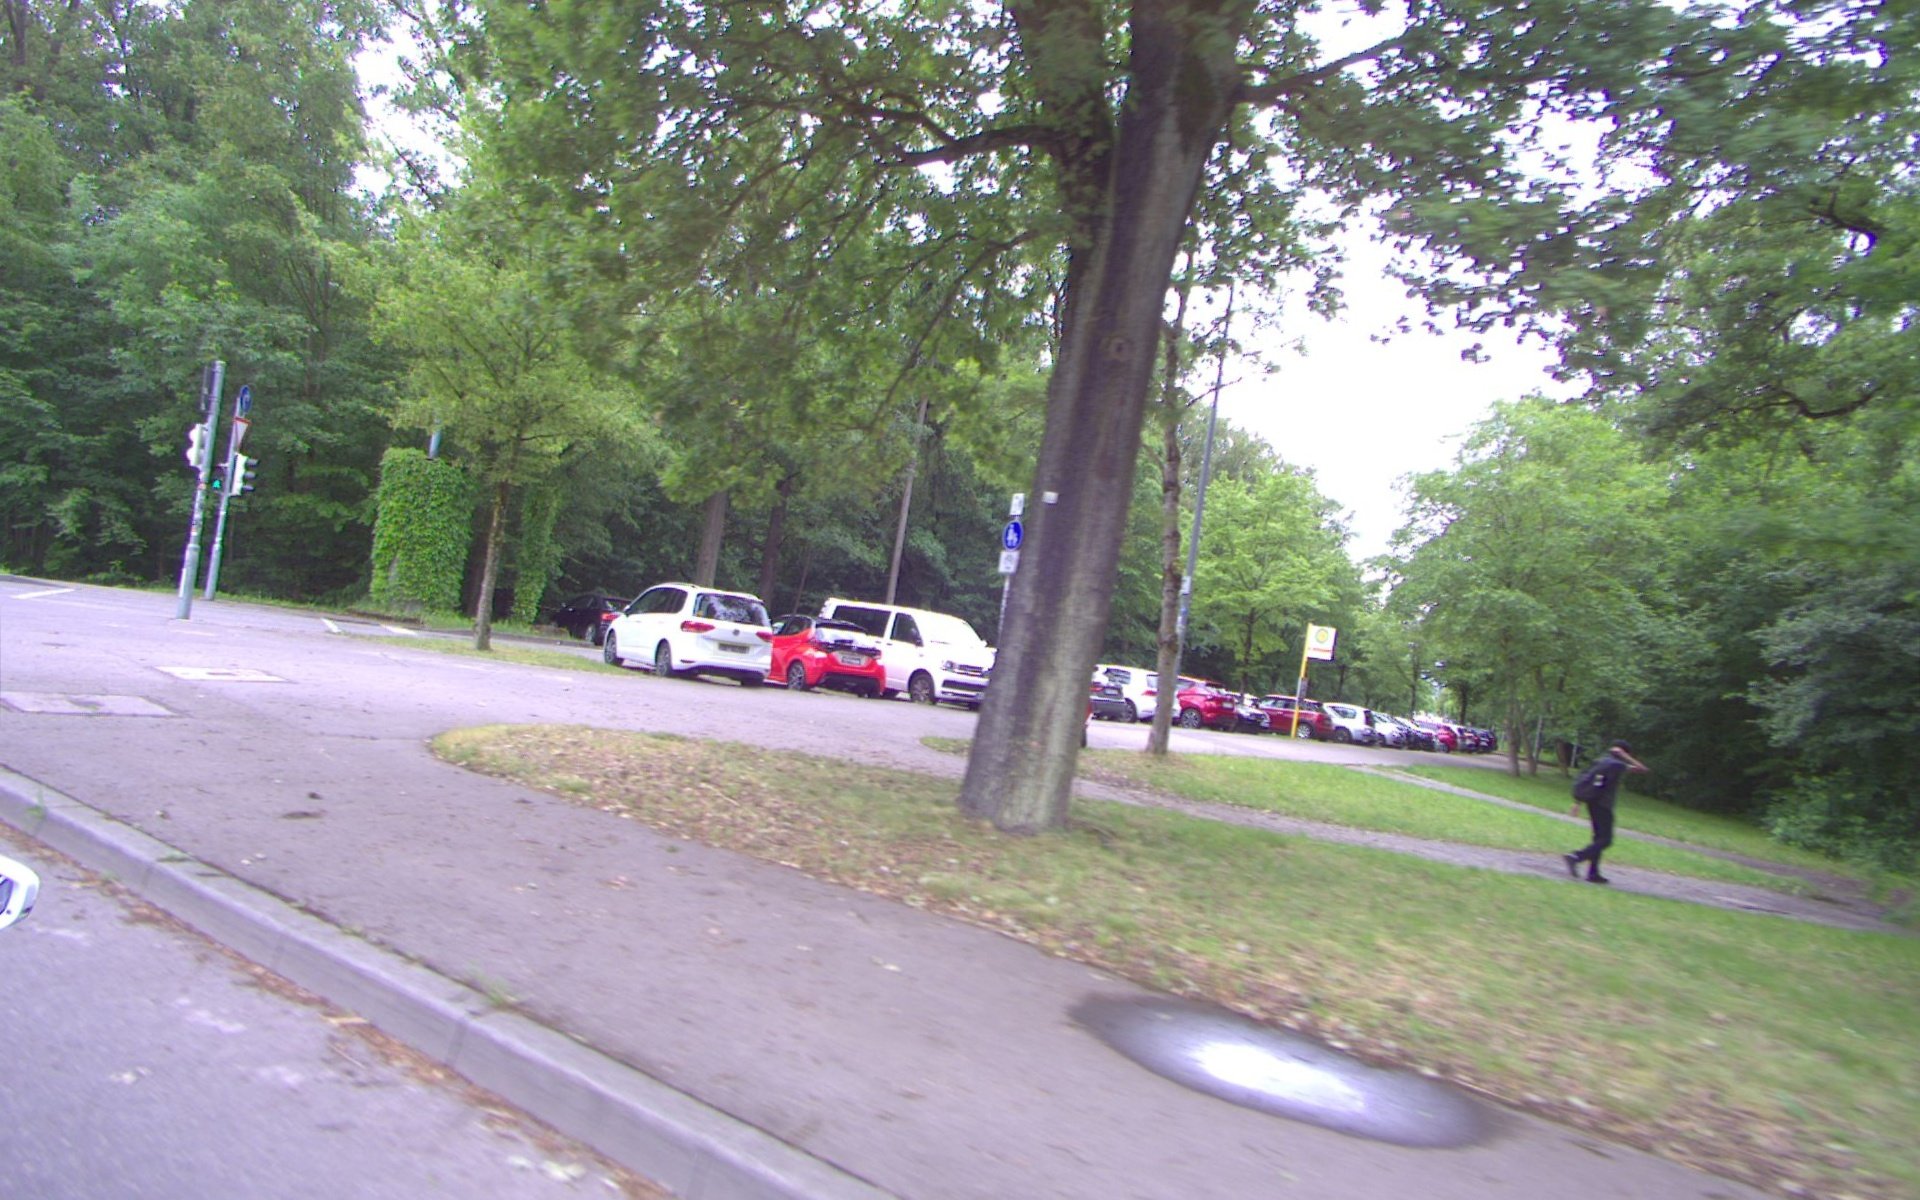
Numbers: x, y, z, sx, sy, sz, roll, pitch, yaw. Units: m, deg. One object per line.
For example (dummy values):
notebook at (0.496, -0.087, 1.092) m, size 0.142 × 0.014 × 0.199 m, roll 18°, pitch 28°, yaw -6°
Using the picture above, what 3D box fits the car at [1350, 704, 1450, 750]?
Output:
car at (20.068, 5.803, 45.978) m, size 3.719 × 1.444 × 1.751 m, roll 6°, pitch -3°, yaw 41°

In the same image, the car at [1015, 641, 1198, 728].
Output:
car at (3.826, 2.216, 26.783) m, size 4.474 × 1.575 × 1.835 m, roll 6°, pitch -3°, yaw 45°

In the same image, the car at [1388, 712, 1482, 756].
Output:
car at (26.572, 7.469, 56.318) m, size 4.386 × 1.669 × 1.998 m, roll 7°, pitch -3°, yaw 33°

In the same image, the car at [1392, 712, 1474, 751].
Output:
car at (25.478, 7.064, 54.224) m, size 3.768 × 1.444 × 1.657 m, roll 7°, pitch -3°, yaw 31°

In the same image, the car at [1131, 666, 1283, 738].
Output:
car at (7.379, 3.043, 30.339) m, size 1.754 × 1.473 × 4.020 m, roll 11°, pitch -3°, yaw -42°

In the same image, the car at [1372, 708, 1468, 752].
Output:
car at (22.015, 6.219, 48.199) m, size 3.719 × 1.444 × 1.652 m, roll 6°, pitch -3°, yaw 41°

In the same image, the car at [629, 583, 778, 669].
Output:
car at (-7.767, 0.736, 30.155) m, size 1.990 × 1.899 × 4.889 m, roll 11°, pitch -3°, yaw -43°

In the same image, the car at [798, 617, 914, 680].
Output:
car at (-3.783, 1.724, 36.296) m, size 3.936 × 1.639 × 1.841 m, roll 6°, pitch -3°, yaw 42°

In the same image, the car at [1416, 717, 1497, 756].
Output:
car at (30.583, 8.400, 61.972) m, size 4.184 × 1.669 × 1.998 m, roll 7°, pitch -3°, yaw 33°

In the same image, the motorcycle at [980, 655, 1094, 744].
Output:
motorcycle at (1.259, 1.610, 16.091) m, size 0.583 × 1.217 × 1.949 m, roll 7°, pitch -3°, yaw 43°

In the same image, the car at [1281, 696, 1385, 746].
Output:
car at (14.051, 4.554, 37.937) m, size 3.238 × 1.276 × 1.513 m, roll 6°, pitch -3°, yaw 42°

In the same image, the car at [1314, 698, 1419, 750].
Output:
car at (15.806, 4.811, 39.164) m, size 3.336 × 1.457 × 1.516 m, roll 7°, pitch -3°, yaw 40°

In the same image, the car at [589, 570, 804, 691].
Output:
car at (-4.826, 0.482, 17.990) m, size 1.986 × 1.569 × 4.375 m, roll 10°, pitch -3°, yaw -38°

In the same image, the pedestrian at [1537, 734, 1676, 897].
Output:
pedestrian at (7.724, 2.539, 12.077) m, size 1.016 × 1.669 × 0.835 m, roll 8°, pitch -2°, yaw 14°

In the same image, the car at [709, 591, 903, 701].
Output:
car at (-3.095, 0.838, 19.622) m, size 1.881 × 1.569 × 3.959 m, roll 10°, pitch -3°, yaw -38°

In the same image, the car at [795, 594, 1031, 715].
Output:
car at (-1.145, 1.087, 21.454) m, size 2.051 × 1.978 × 5.124 m, roll 10°, pitch -5°, yaw -42°

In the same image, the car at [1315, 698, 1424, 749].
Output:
car at (16.923, 5.094, 41.654) m, size 3.719 × 1.444 × 1.751 m, roll 6°, pitch -3°, yaw 41°

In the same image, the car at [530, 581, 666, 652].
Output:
car at (-10.229, 0.434, 28.351) m, size 3.794 × 1.436 × 1.815 m, roll 6°, pitch -3°, yaw 40°

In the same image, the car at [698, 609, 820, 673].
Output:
car at (-6.426, 1.275, 31.976) m, size 1.819 × 1.429 × 4.001 m, roll 11°, pitch -3°, yaw -43°

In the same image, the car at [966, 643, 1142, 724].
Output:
car at (2.265, 2.039, 25.008) m, size 1.809 × 1.339 × 4.080 m, roll 11°, pitch -3°, yaw -42°

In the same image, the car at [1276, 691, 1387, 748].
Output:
car at (13.099, 4.218, 35.567) m, size 3.238 × 1.445 × 1.513 m, roll 6°, pitch -3°, yaw 42°

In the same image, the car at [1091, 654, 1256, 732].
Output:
car at (5.972, 2.602, 28.502) m, size 1.809 × 1.512 × 4.151 m, roll 11°, pitch -3°, yaw -42°

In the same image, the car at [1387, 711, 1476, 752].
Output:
car at (24.454, 6.834, 52.203) m, size 3.870 × 1.444 × 1.655 m, roll 7°, pitch -3°, yaw 34°

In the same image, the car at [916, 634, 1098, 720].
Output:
car at (1.000, 1.725, 22.938) m, size 1.713 × 1.342 × 3.887 m, roll 11°, pitch -3°, yaw -44°

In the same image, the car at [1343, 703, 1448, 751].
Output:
car at (18.903, 5.509, 43.760) m, size 3.719 × 1.444 × 1.751 m, roll 6°, pitch -3°, yaw 41°

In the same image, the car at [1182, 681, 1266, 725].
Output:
car at (15.196, 5.929, 58.046) m, size 4.143 × 1.806 × 1.833 m, roll 7°, pitch -3°, yaw 38°

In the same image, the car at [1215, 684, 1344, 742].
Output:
car at (10.786, 3.810, 34.045) m, size 3.719 × 1.280 × 1.615 m, roll 7°, pitch -3°, yaw 39°
